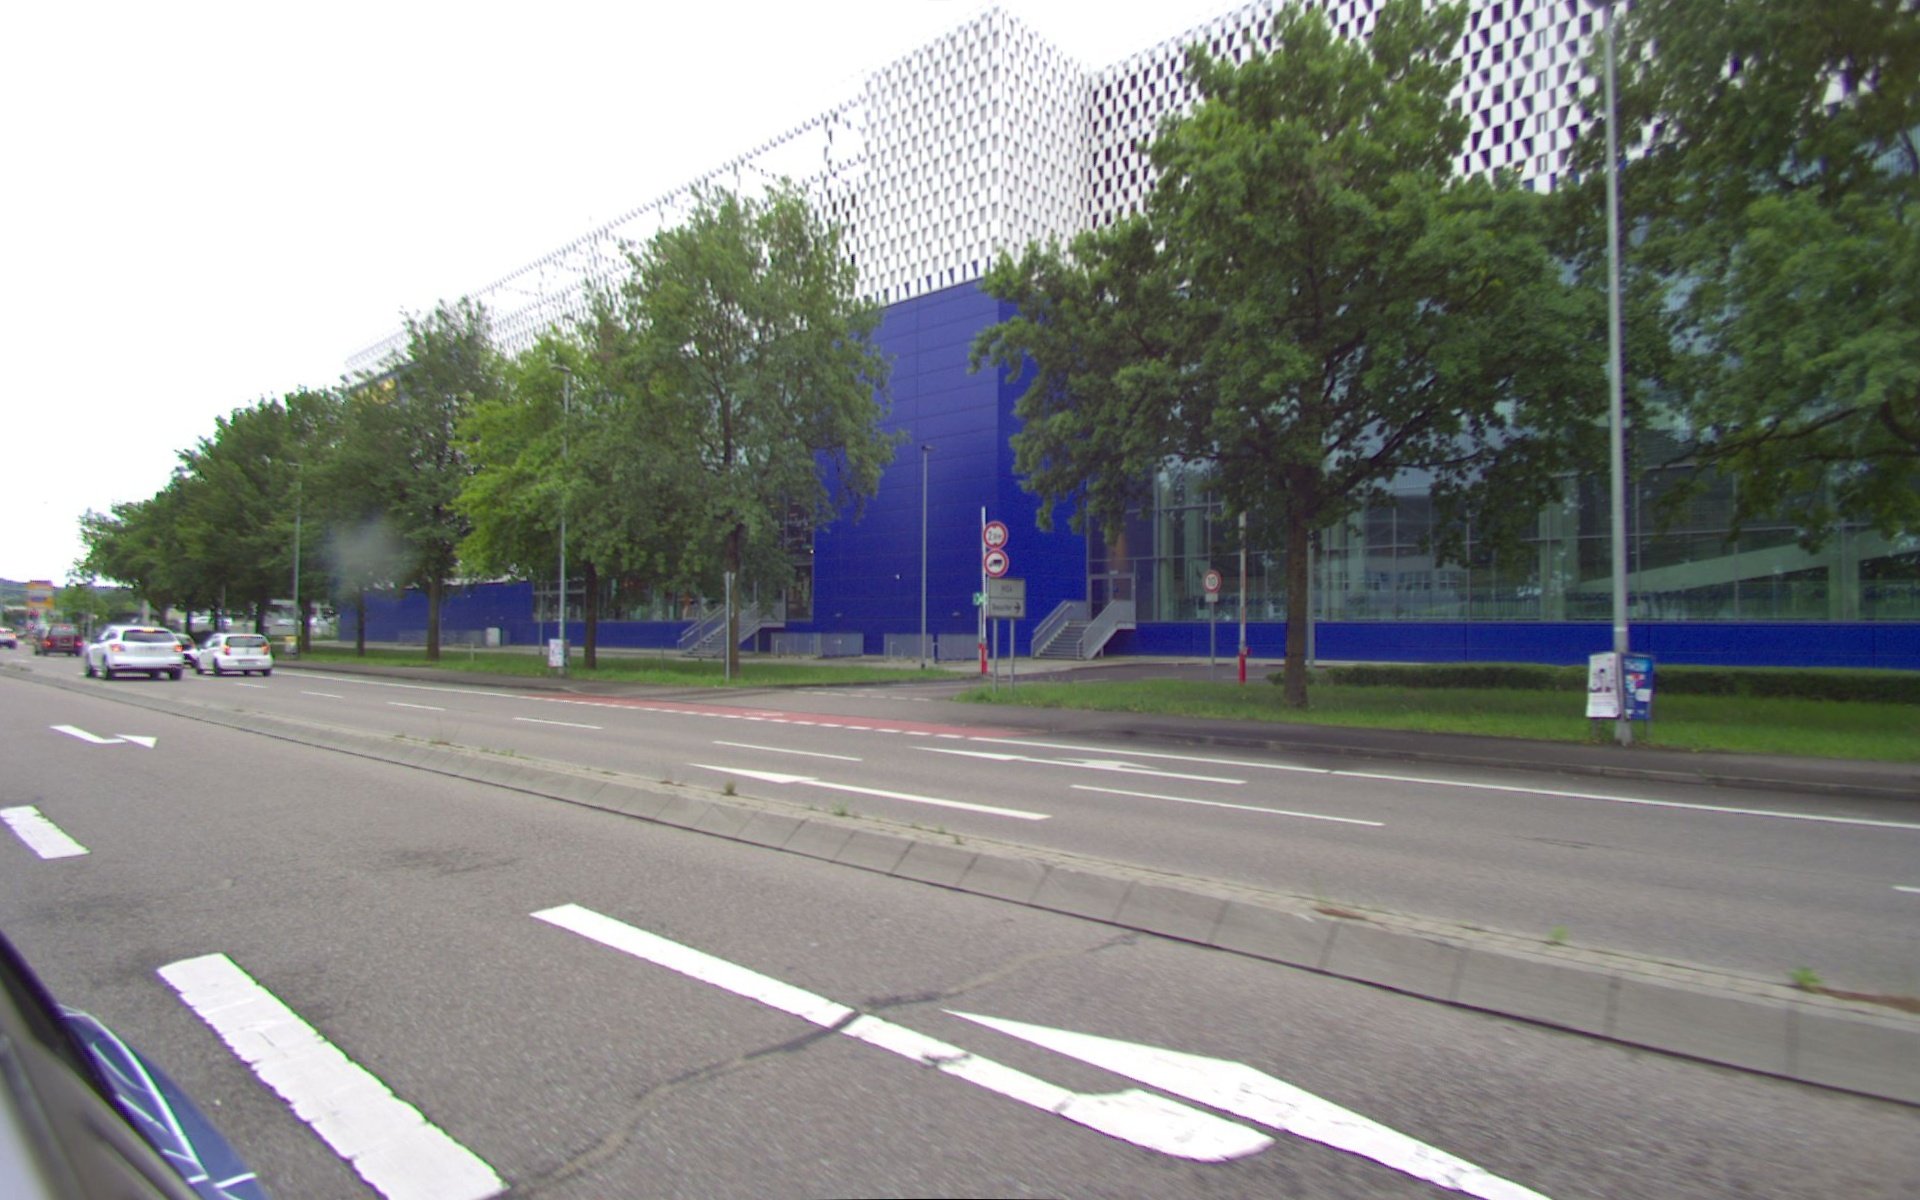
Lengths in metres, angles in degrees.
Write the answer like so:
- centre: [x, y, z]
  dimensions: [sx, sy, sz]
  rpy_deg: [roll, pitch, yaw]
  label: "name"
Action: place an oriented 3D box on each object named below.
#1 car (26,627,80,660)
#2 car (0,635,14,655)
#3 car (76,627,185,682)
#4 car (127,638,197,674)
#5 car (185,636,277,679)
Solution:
- centre: [-55.473, 2.677, 61.889]
  dimensions: [4.905, 1.939, 1.749]
  rpy_deg: [-2, -4, 40]
  label: "car"
- centre: [-77.528, 3.588, 81.039]
  dimensions: [3.972, 1.624, 1.707]
  rpy_deg: [-2, -5, 35]
  label: "car"
- centre: [-25.756, 1.691, 31.377]
  dimensions: [4.510, 1.599, 1.799]
  rpy_deg: [-2, -5, 41]
  label: "car"
- centre: [-33.755, 2.344, 42.786]
  dimensions: [3.609, 1.434, 1.607]
  rpy_deg: [-2, -4, 41]
  label: "car"
- centre: [-25.772, 2.014, 35.750]
  dimensions: [3.646, 1.439, 1.660]
  rpy_deg: [-2, -4, 38]
  label: "car"
